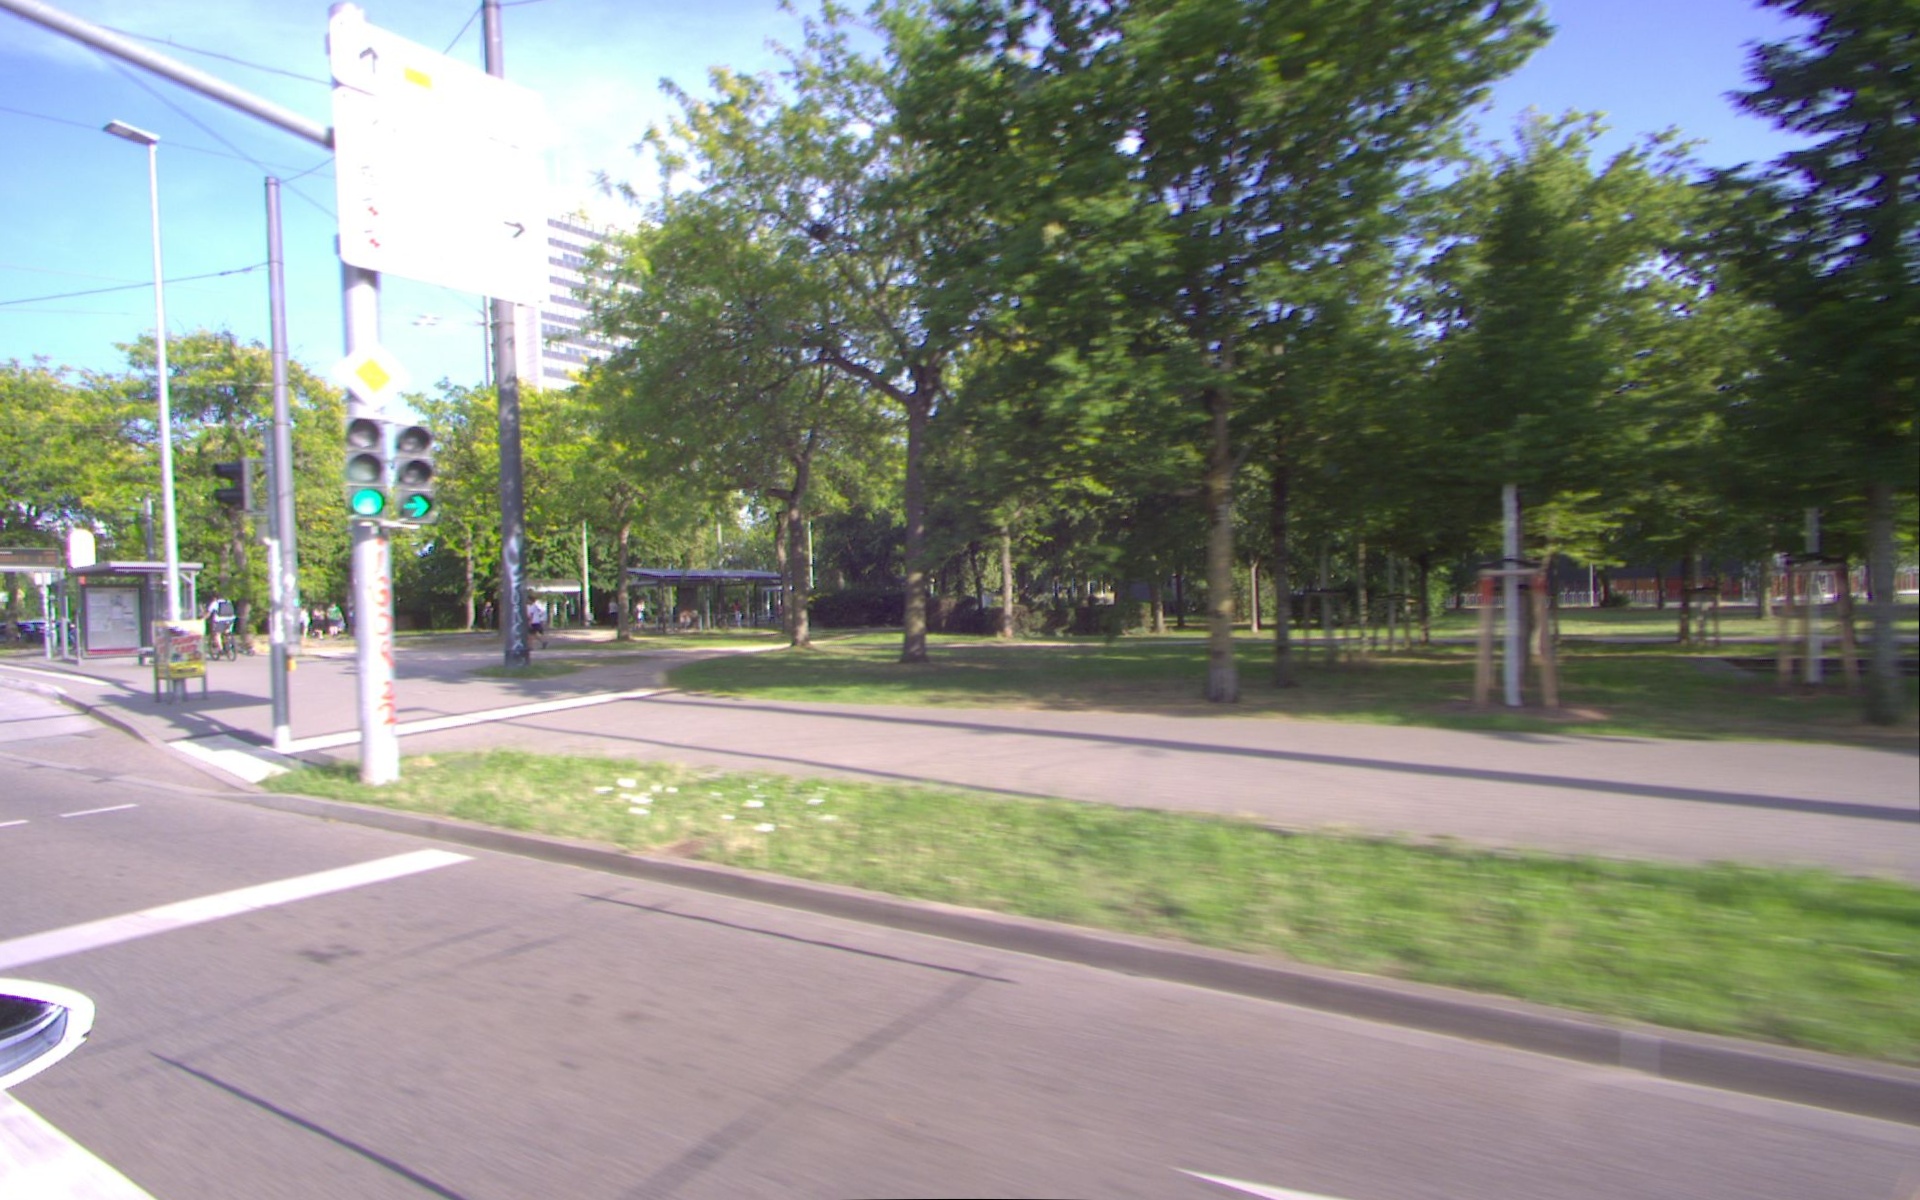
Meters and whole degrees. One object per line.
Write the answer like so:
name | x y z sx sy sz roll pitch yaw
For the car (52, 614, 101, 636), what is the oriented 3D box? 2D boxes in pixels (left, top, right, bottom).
car | -66.134 1.845 75.024 1.832 1.536 3.980 -3 1 -29

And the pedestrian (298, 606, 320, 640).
pedestrian | -31.992 1.137 49.219 0.681 1.632 0.639 -1 1 32

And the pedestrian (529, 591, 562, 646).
pedestrian | -14.554 0.654 35.164 0.863 1.921 0.673 0 -1 5

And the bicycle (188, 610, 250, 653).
bicycle | -20.204 0.857 27.291 1.912 1.103 0.639 -1 3 32

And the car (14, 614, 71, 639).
car | -61.283 1.738 66.934 1.832 1.536 3.980 -3 1 -29

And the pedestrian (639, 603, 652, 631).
pedestrian | -21.135 1.157 67.277 0.667 1.823 0.605 1 -2 -44

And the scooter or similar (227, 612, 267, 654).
scooter or similar | -21.679 1.001 30.439 1.115 1.248 0.351 -1 1 18

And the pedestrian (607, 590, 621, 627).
pedestrian | -18.216 0.461 52.711 0.594 1.891 0.462 -1 -2 6

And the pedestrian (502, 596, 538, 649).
pedestrian | -15.024 0.782 34.189 0.863 1.799 0.673 0 -1 13

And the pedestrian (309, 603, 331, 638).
pedestrian | -31.252 0.984 48.903 0.681 1.687 0.639 -1 1 32

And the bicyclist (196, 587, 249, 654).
bicyclist | -19.963 0.557 27.110 1.123 1.770 0.647 -1 4 31

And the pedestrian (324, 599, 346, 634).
pedestrian | -30.397 0.817 48.681 0.681 1.687 0.639 -1 1 32

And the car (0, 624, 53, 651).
car | -57.866 2.301 61.736 1.831 1.536 3.982 -3 1 -28
